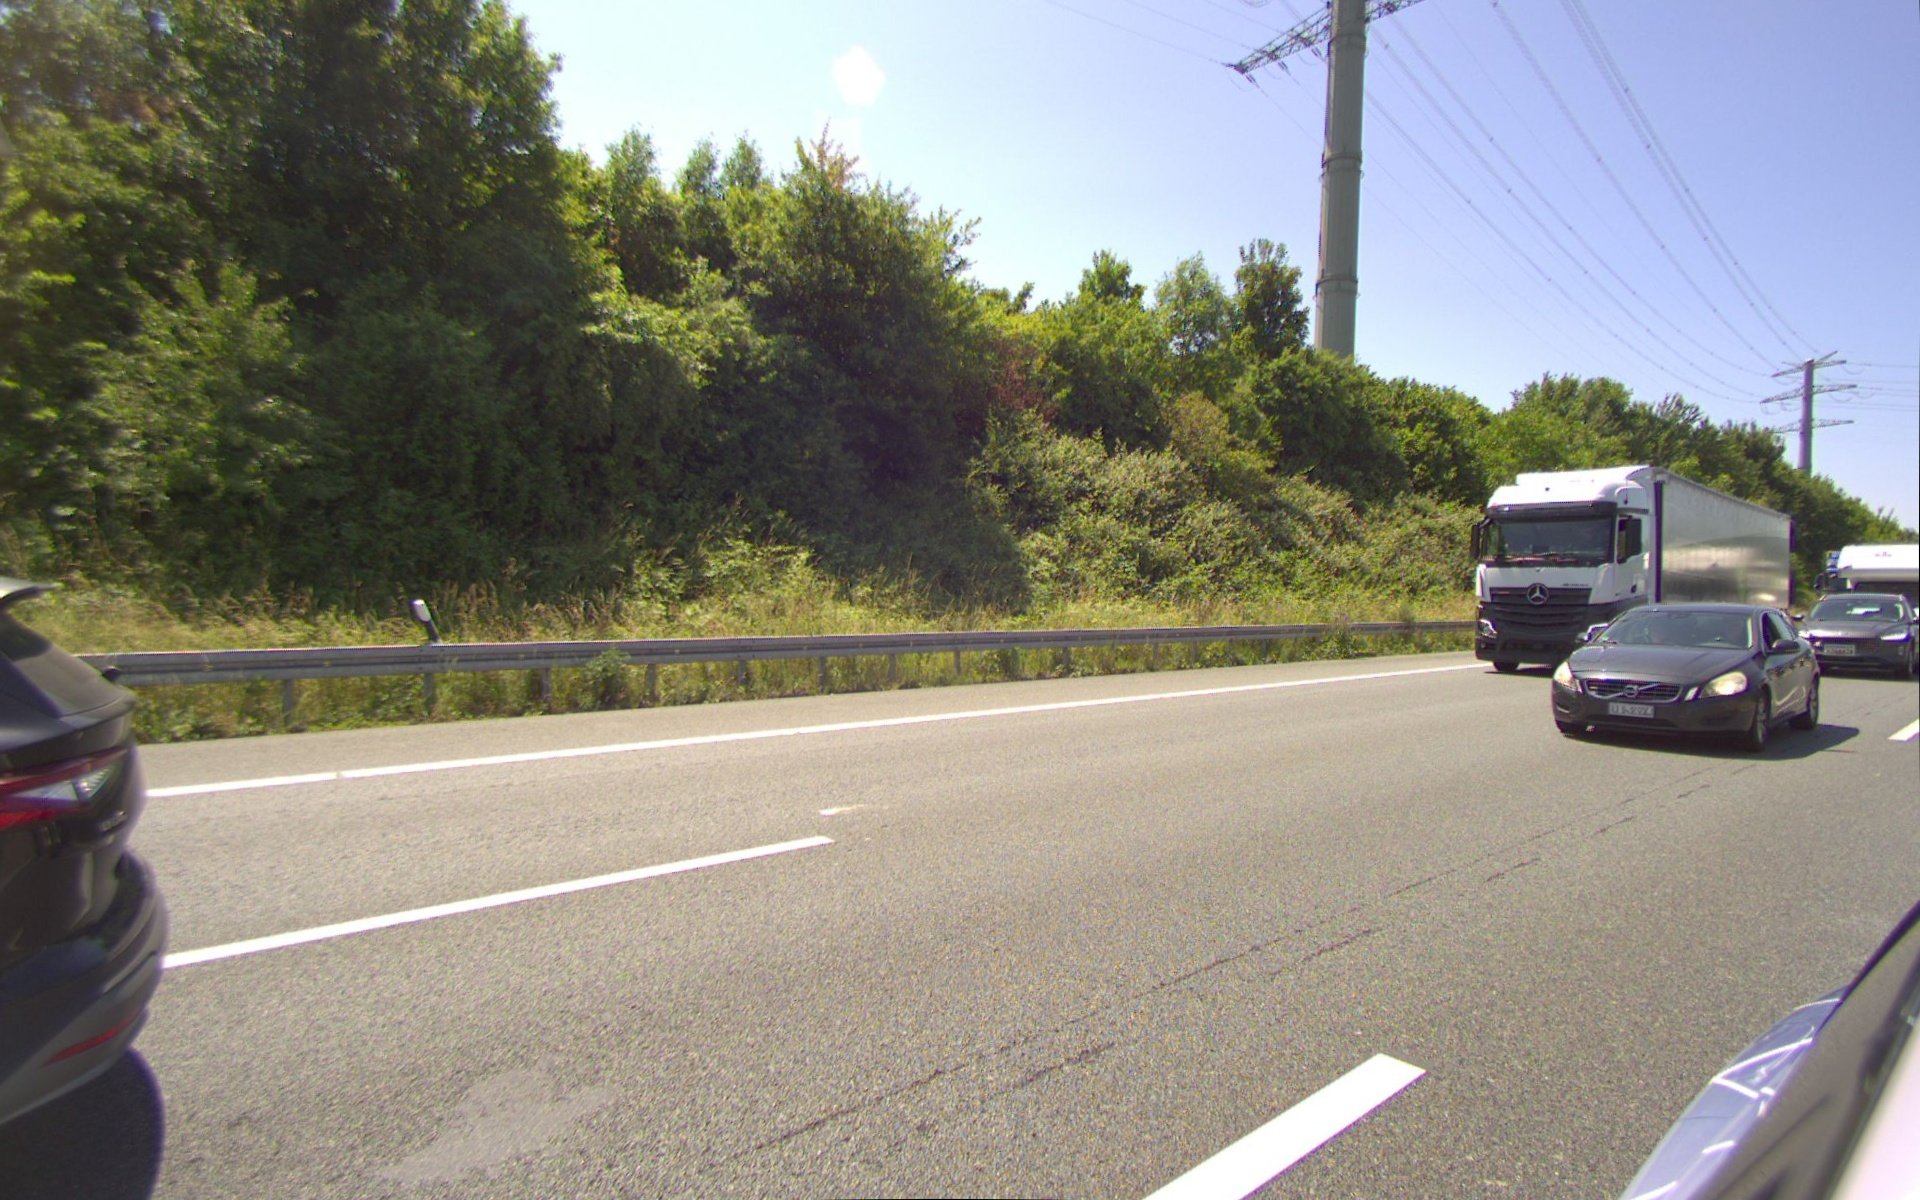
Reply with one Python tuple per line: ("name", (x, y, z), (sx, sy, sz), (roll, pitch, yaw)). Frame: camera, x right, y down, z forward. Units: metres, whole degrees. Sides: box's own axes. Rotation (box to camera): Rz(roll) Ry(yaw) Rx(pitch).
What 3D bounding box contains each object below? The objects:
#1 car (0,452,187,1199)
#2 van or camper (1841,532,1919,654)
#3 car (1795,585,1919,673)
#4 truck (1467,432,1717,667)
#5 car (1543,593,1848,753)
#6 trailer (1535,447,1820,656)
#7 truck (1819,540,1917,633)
("car", (-3.891, 0.552, 1.432), (4.353, 1.676, 1.703), (-1, 0, -42))
("van or camper", (26.889, -0.199, 28.283), (7.499, 3.082, 2.373), (-1, 0, -41))
("car", (18.771, 0.511, 20.737), (4.146, 1.631, 1.892), (-1, 0, -41))
("truck", (12.925, -0.908, 20.529), (5.692, 4.098, 2.738), (0, 0, -41))
("car", (8.332, 0.648, 11.303), (4.431, 1.437, 1.798), (-1, 0, -41))
("trailer", (18.271, -1.006, 25.152), (12.882, 4.098, 2.788), (-1, 0, -41))
("truck", (43.930, -0.644, 48.916), (5.537, 4.197, 2.790), (0, 0, -41))
